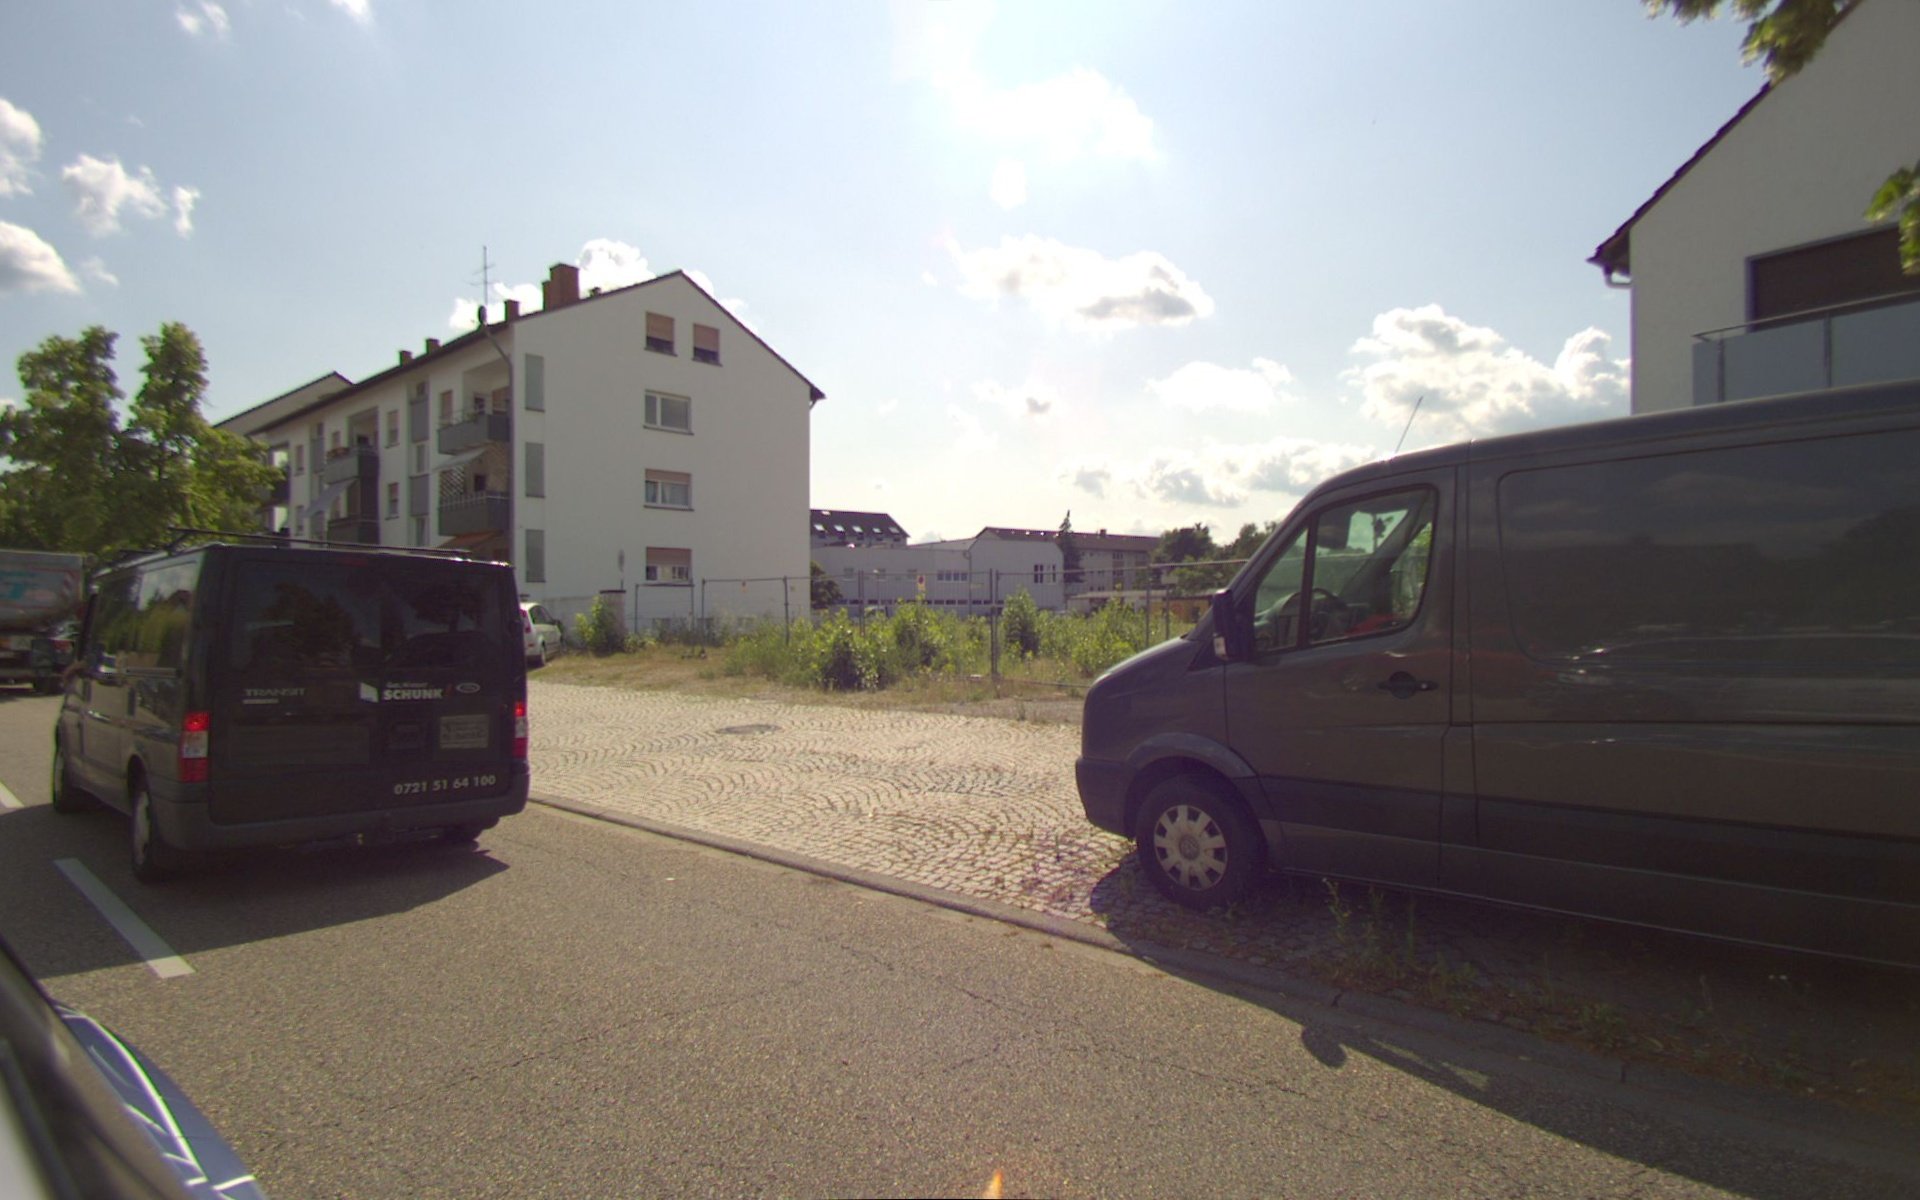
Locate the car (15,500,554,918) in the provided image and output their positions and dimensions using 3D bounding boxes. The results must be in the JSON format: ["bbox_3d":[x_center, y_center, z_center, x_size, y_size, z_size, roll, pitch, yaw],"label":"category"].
[{"bbox_3d":[-5.222,0.600,7.460,5.139,2.050,2.029,-1,-3,42],"label":"car"}]

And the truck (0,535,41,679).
[{"bbox_3d":[-26.086,0.212,26.167,5.878,3.525,2.744,-1,-1,41],"label":"truck"}]

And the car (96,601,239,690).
[{"bbox_3d":[-18.824,1.019,23.956,4.489,1.819,1.791,-1,2,41],"label":"car"}]

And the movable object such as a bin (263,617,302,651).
[{"bbox_3d":[-23.819,1.202,35.584,0.824,1.158,0.944,-4,-2,41],"label":"movable object such as a bin"}]

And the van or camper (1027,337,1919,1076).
[{"bbox_3d":[3.224,0.304,4.359,5.936,2.334,1.971,-1,2,44],"label":"van or camper"}]

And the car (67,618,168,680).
[{"bbox_3d":[-23.201,1.287,27.826,3.925,1.480,1.605,-1,1,43],"label":"car"}]

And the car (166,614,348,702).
[{"bbox_3d":[-14.194,1.138,20.342,4.704,1.472,1.732,-3,1,39],"label":"car"}]

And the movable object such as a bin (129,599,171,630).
[{"bbox_3d":[-39.598,0.704,49.492,1.303,1.497,1.284,-2,-1,35],"label":"movable object such as a bin"}]

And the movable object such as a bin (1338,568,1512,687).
[{"bbox_3d":[6.389,0.398,13.988,1.291,1.443,1.607,0,-7,-32],"label":"movable object such as a bin"}]

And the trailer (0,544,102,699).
[{"bbox_3d":[-22.418,0.496,23.091,8.881,3.092,2.806,-1,-1,40],"label":"trailer"}]
